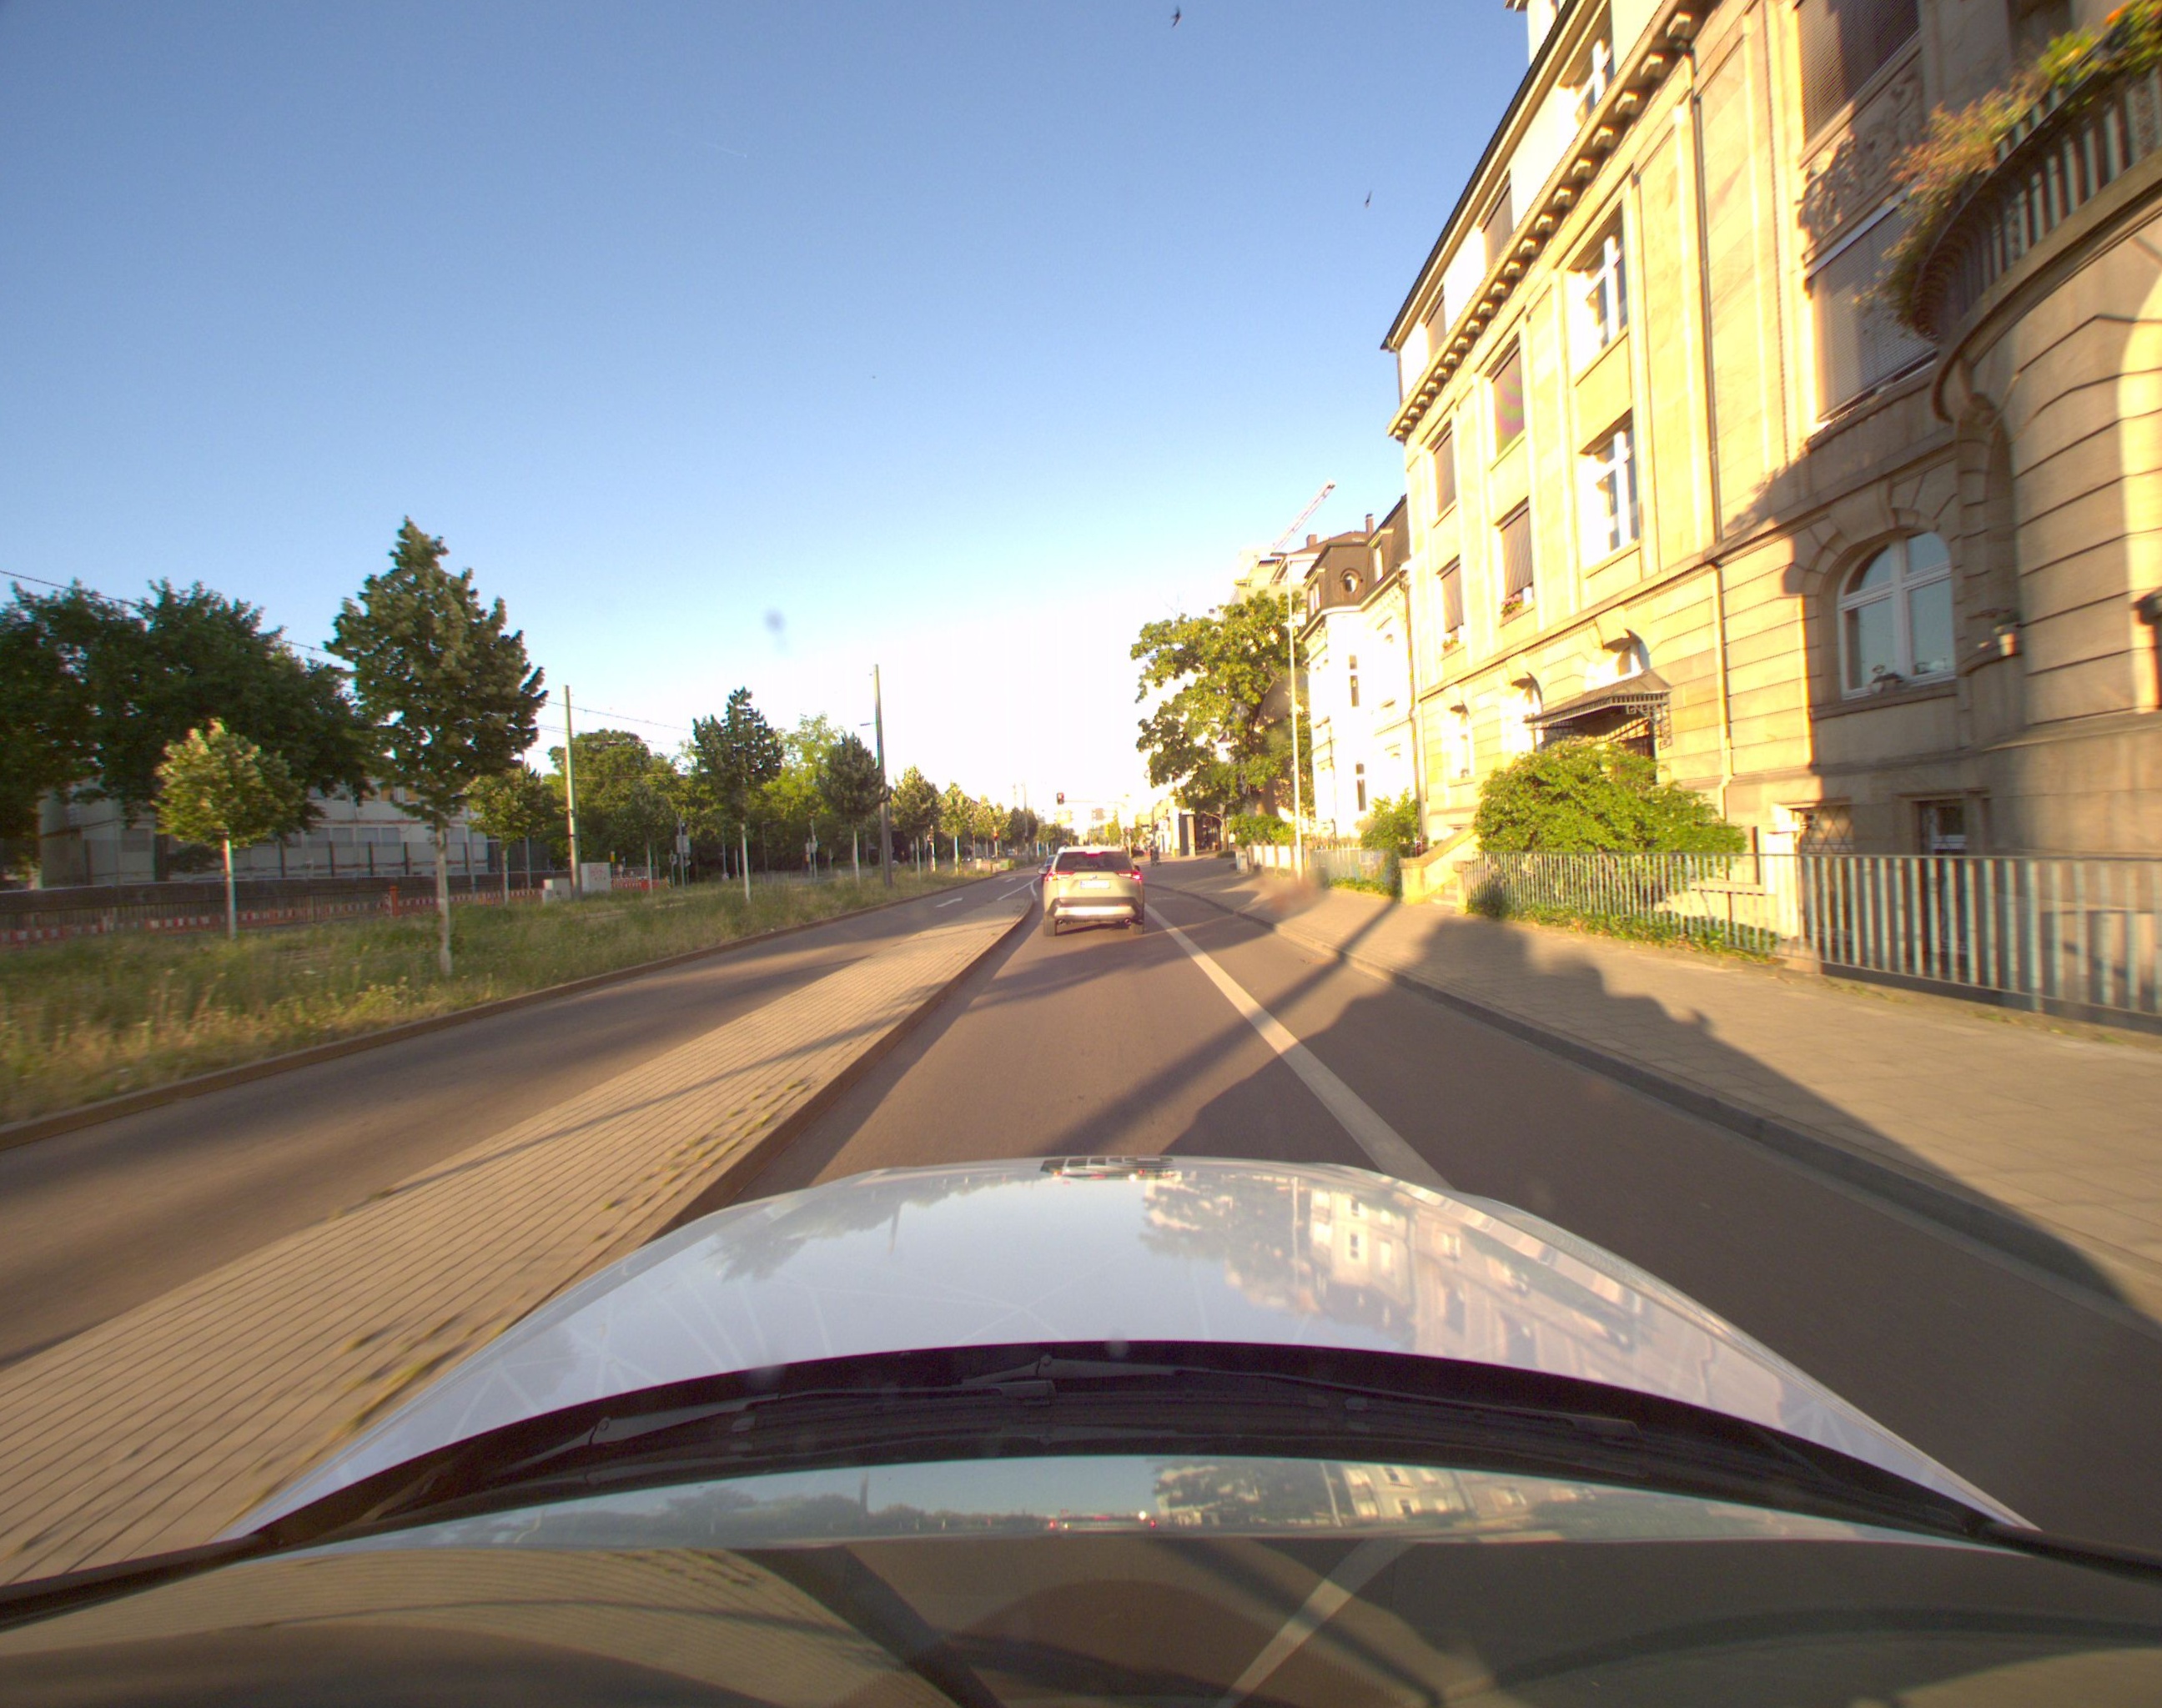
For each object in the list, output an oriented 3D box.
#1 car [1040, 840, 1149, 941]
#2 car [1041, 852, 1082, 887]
[{"bbox_3d":[0.228,0.618,16.193,1.852,1.714,4.192,-1,0,0],"label":"car"},{"bbox_3d":[-0.879,0.694,38.848,1.852,1.551,4.109,-1,0,0],"label":"car"}]
